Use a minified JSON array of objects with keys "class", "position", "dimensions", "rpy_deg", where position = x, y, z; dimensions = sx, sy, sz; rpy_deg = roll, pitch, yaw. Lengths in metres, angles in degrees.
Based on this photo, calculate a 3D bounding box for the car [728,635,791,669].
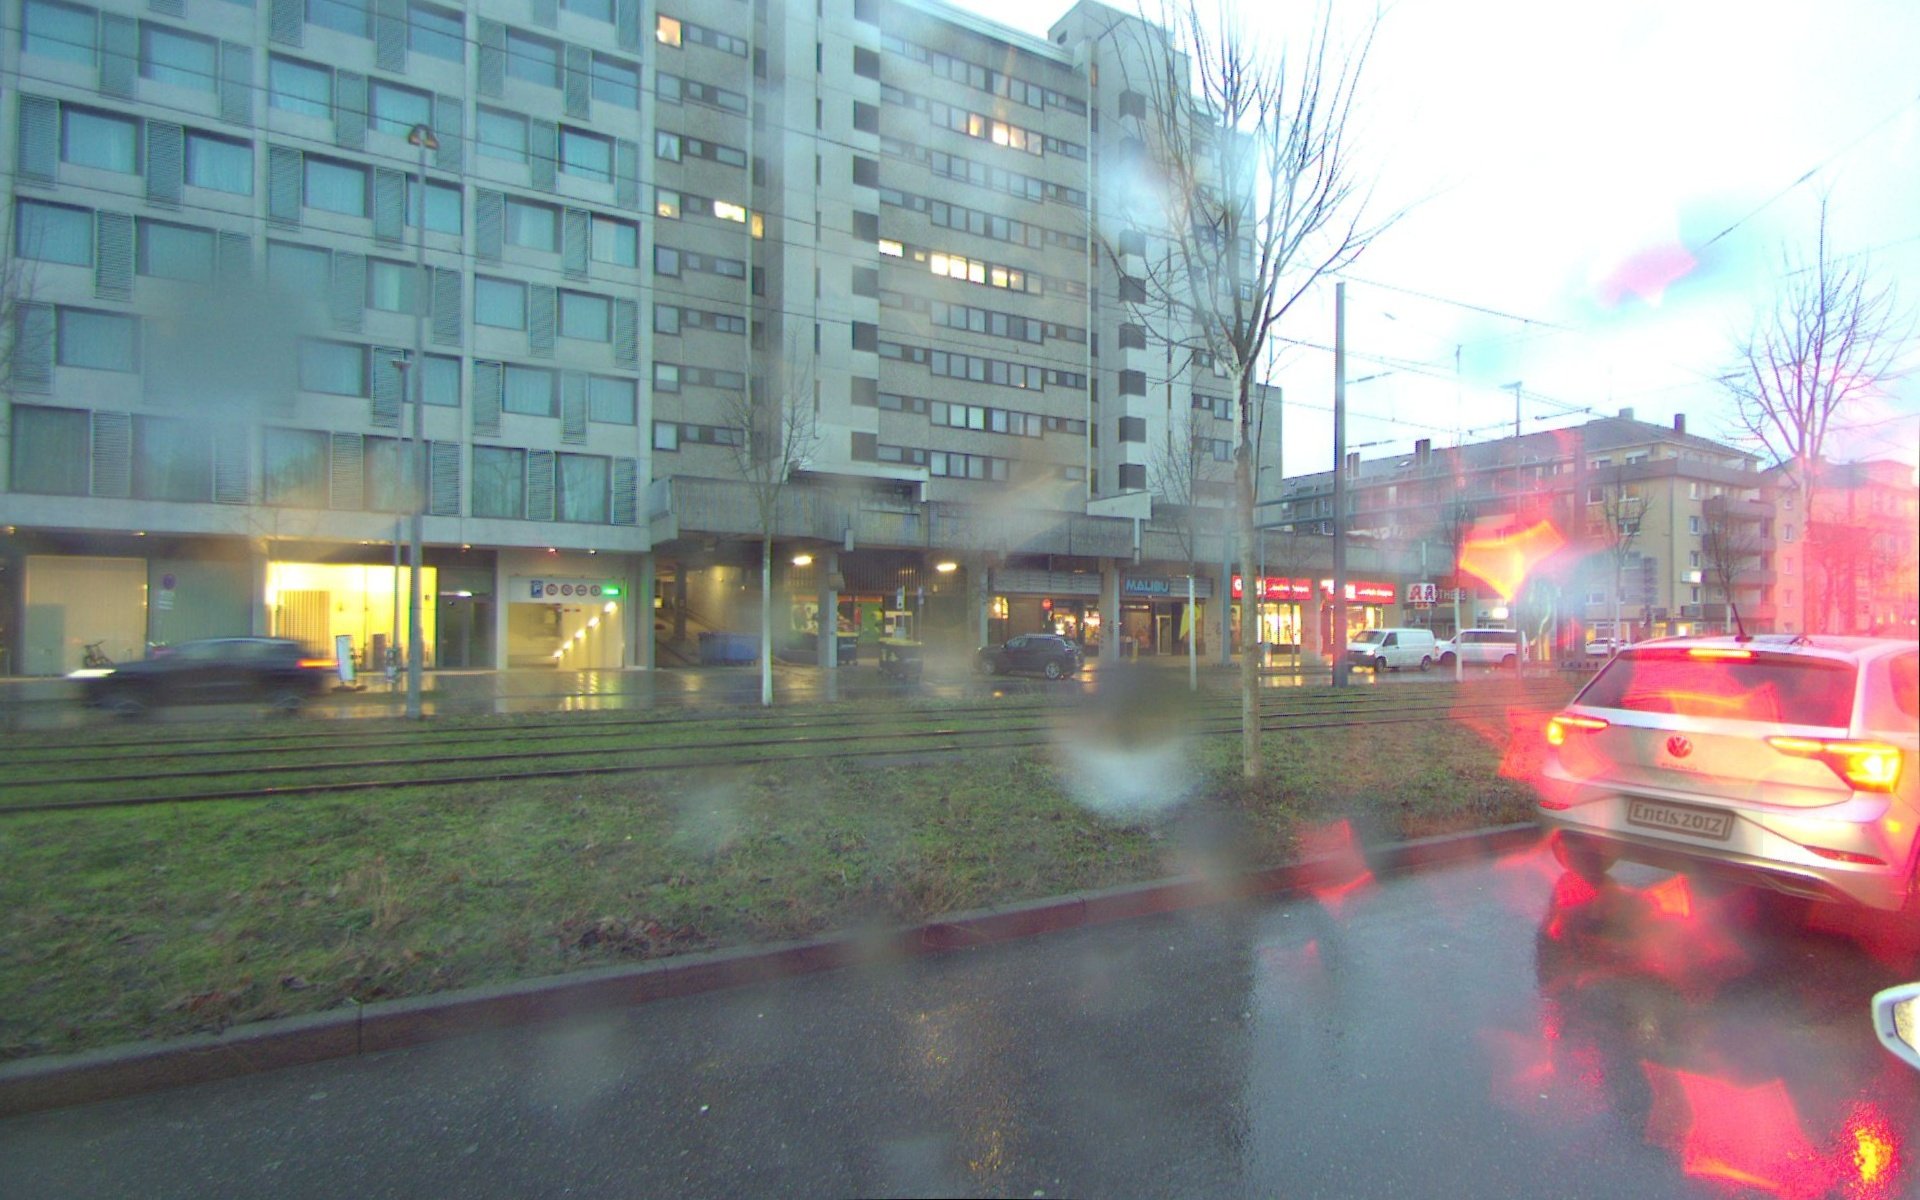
[{"class":"car","position":[-8.753,2.227,43.756],"dimensions":[1.580,1.377,3.411],"rpy_deg":[1,-2,-32]}]

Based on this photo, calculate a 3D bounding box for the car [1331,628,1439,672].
[{"class":"car","position":[19.955,2.317,47.151],"dimensions":[5.101,1.937,1.985],"rpy_deg":[1,-2,-30]}]

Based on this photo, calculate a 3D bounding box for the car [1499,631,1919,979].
[{"class":"car","position":[5.168,0.918,5.939],"dimensions":[3.936,1.389,1.753],"rpy_deg":[2,-1,-31]}]

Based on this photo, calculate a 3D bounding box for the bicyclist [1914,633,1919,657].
[{"class":"bicyclist","position":[65.352,3.058,68.092],"dimensions":[0.775,1.600,0.638],"rpy_deg":[1,0,19]}]

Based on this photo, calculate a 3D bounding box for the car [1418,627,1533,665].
[{"class":"car","position":[27.056,2.419,52.889],"dimensions":[5.059,1.937,2.001],"rpy_deg":[0,-2,15]}]

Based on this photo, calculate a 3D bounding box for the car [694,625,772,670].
[{"class":"car","position":[-9.128,1.845,40.105],"dimensions":[1.709,1.718,4.336],"rpy_deg":[1,-2,-32]}]

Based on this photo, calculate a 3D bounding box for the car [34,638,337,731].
[{"class":"car","position":[-15.132,1.590,20.012],"dimensions":[4.527,1.655,1.887],"rpy_deg":[1,-2,-30]}]

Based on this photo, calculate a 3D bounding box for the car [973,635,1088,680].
[{"class":"car","position":[2.703,2.172,38.474],"dimensions":[3.925,1.405,1.935],"rpy_deg":[2,0,25]}]

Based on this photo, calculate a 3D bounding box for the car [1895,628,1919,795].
[{"class":"car","position":[10.536,1.014,9.122],"dimensions":[4.562,1.424,1.837],"rpy_deg":[2,-1,-31]}]
